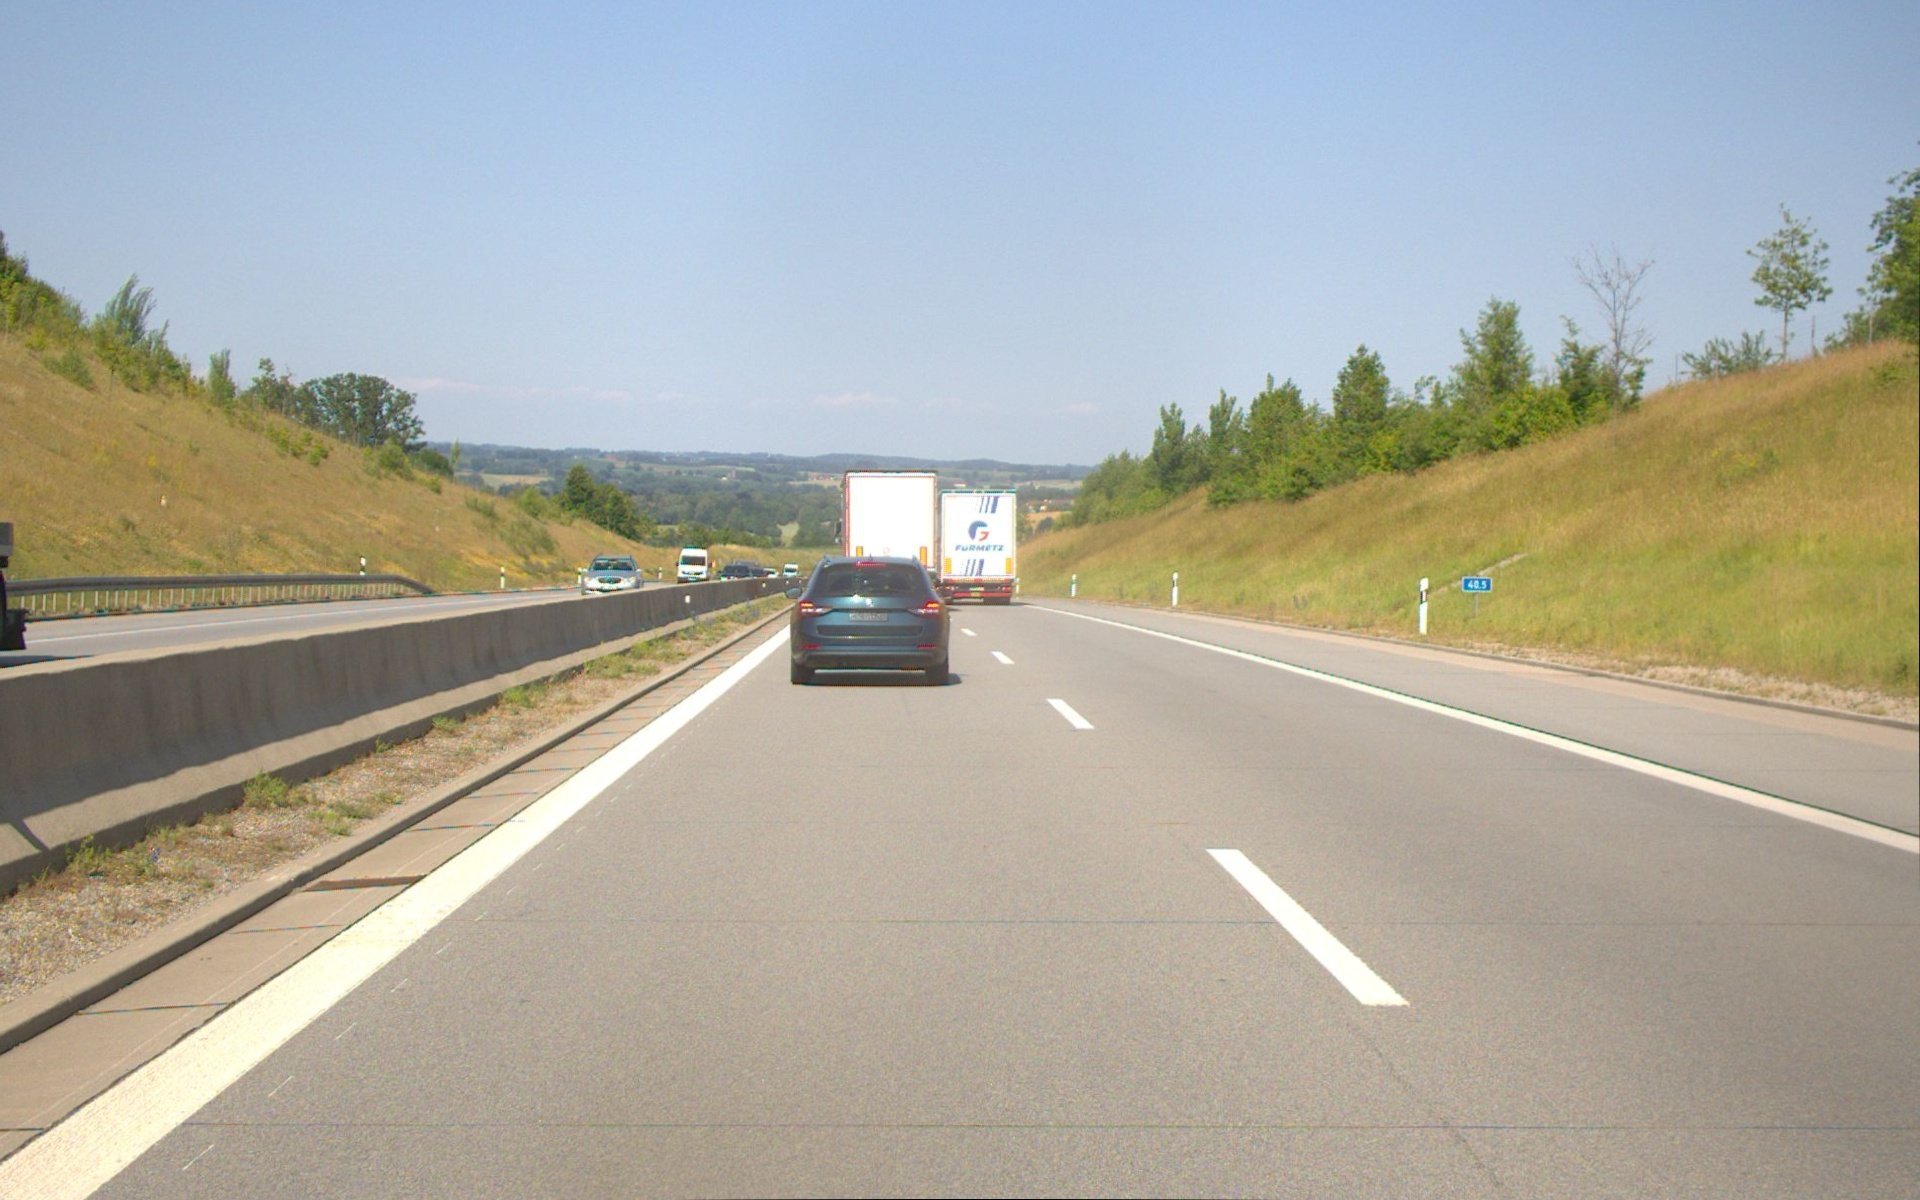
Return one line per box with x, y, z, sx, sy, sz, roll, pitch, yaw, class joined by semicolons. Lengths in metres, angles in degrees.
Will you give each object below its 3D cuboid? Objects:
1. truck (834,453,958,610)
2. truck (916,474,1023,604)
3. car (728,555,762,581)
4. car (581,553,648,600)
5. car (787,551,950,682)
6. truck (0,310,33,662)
-1.805;-1.980;102.445;3.211;4.366;11.233;1;1;1;truck
0.403;-2.143;123.114;3.604;4.366;11.233;1;1;1;truck
-12.401;-1.868;198.792;1.853;1.456;4.769;1;1;-2;car
-11.149;-0.762;111.243;1.853;1.456;4.728;1;1;-2;car
-1.102;0.159;39.625;1.776;1.436;3.789;0;1;-3;car
-11.946;-1.242;33.642;2.756;3.928;12.449;1;1;-2;truck
